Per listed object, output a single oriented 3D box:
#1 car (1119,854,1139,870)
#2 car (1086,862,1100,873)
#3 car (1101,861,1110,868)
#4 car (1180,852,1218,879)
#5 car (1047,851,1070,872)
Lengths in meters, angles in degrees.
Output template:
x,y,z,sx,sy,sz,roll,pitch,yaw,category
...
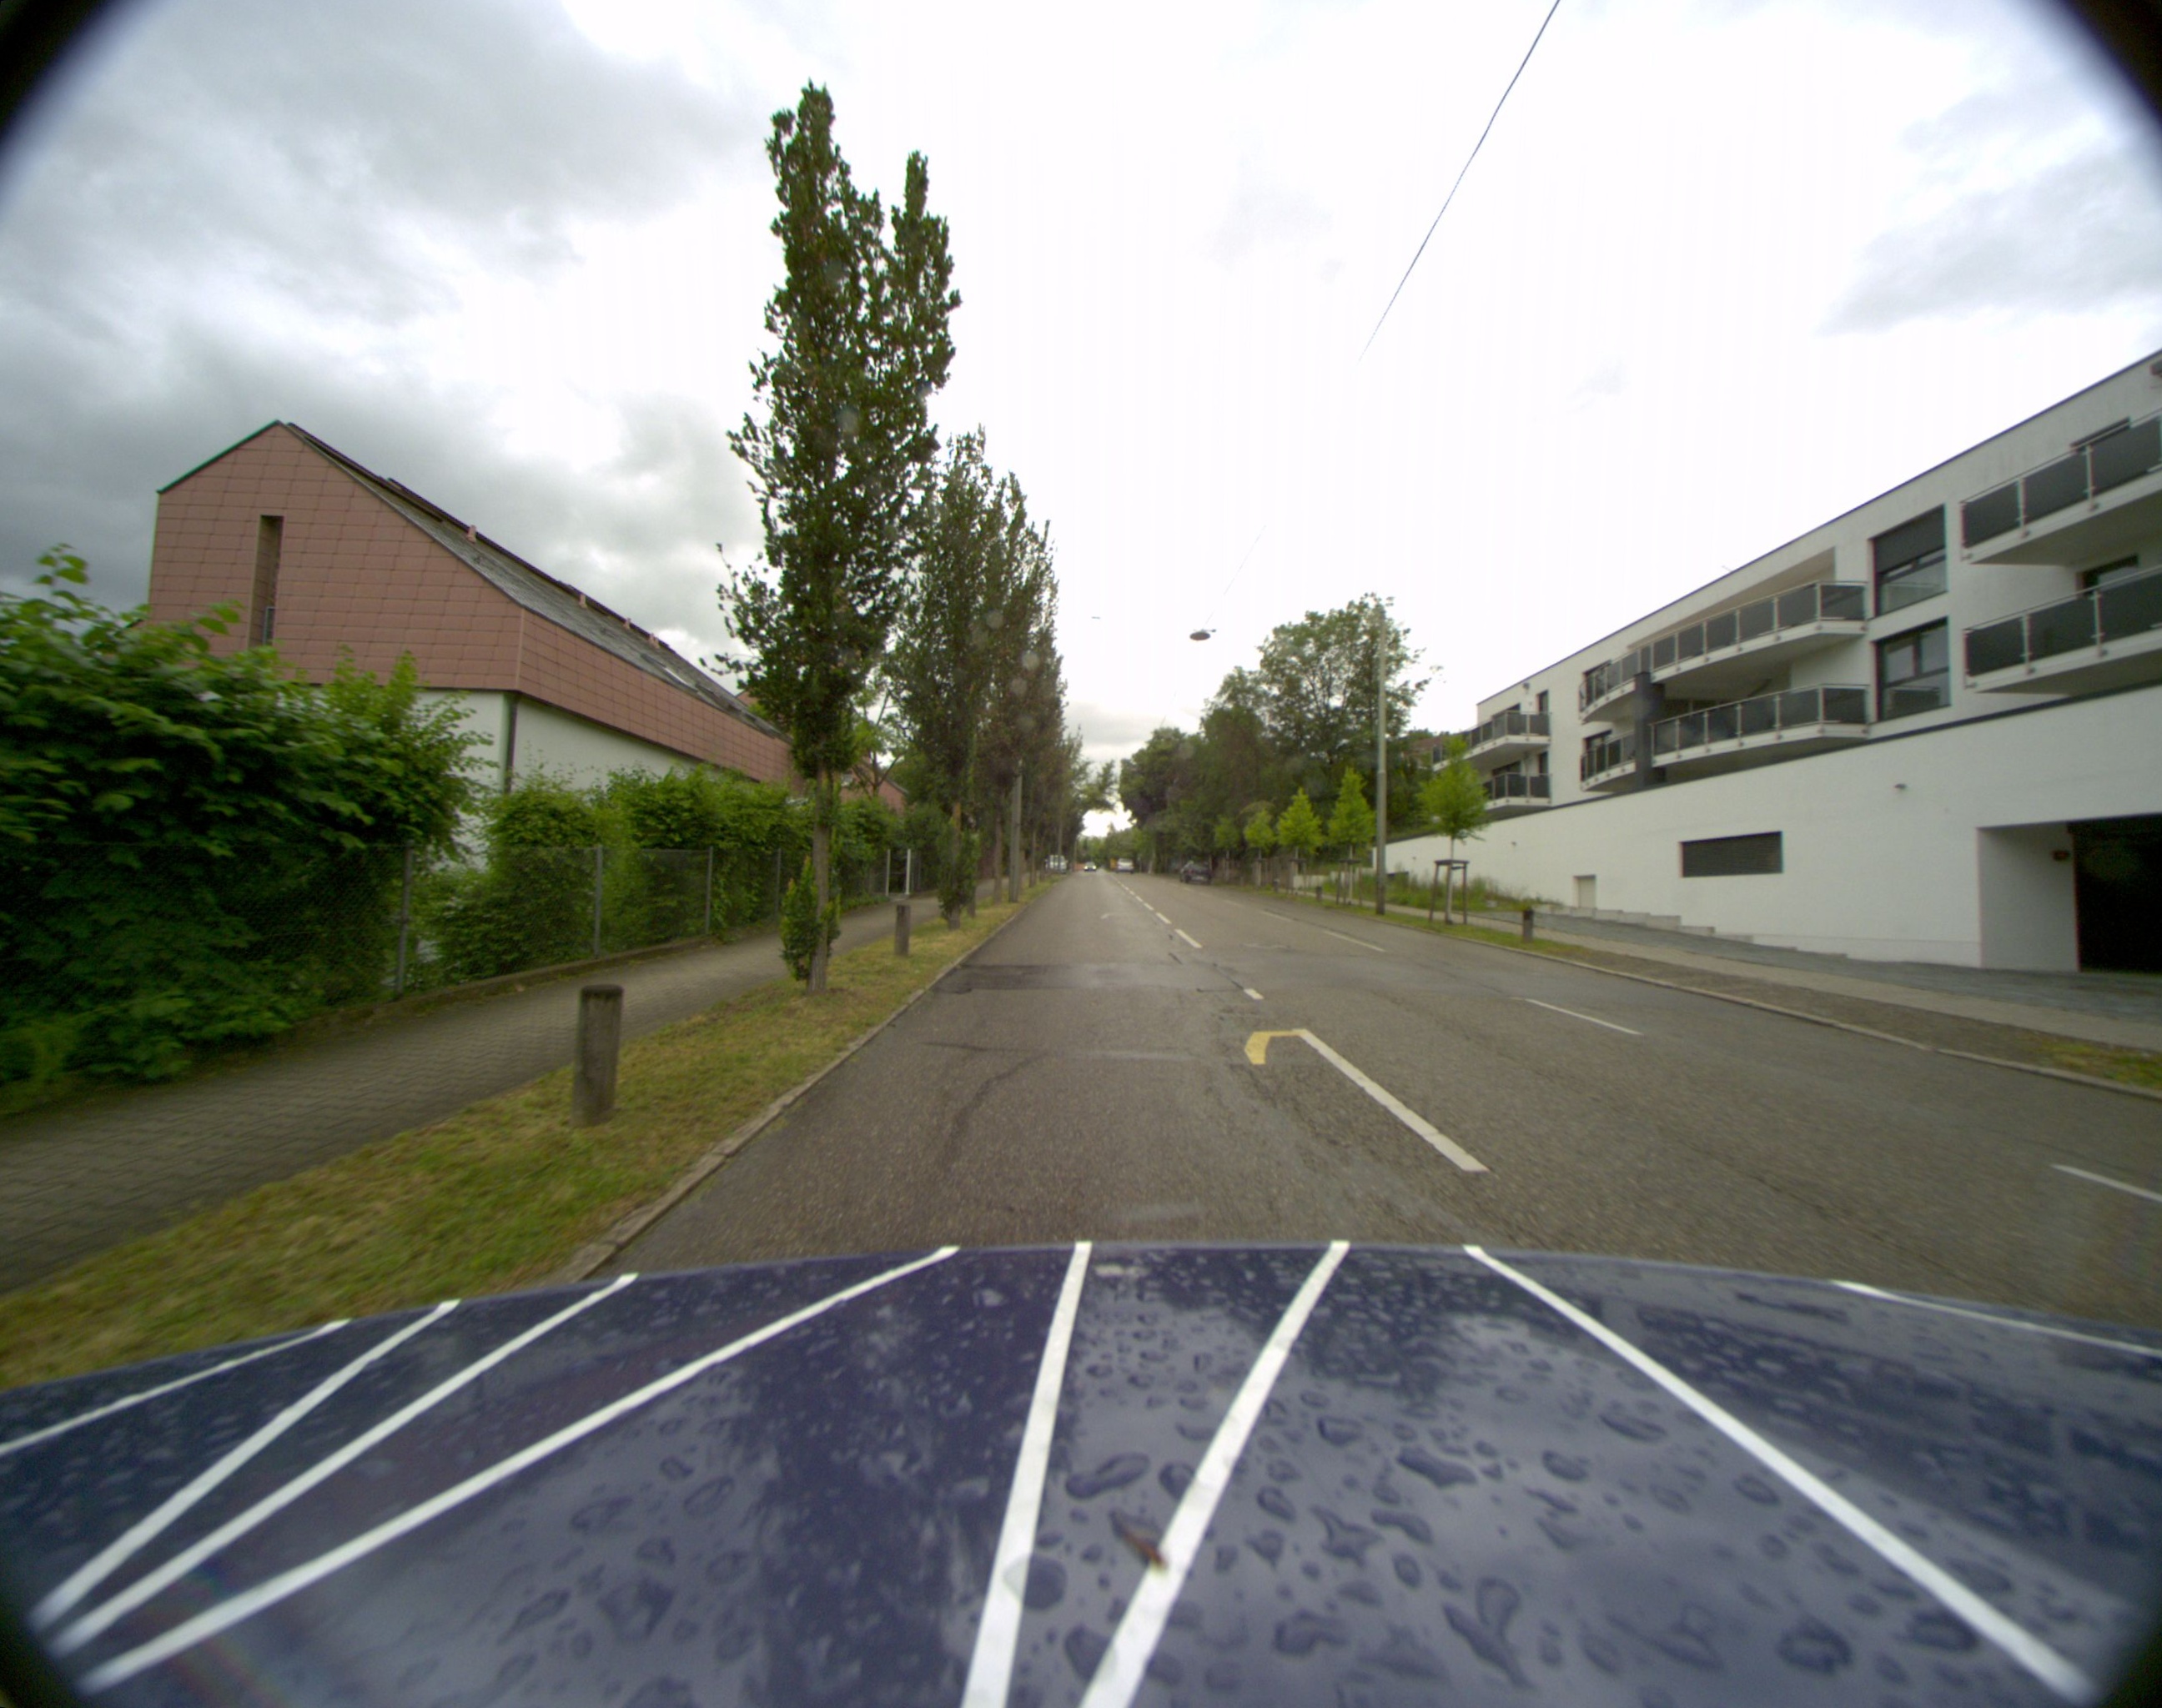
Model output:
x,y,z,sx,sy,sz,roll,pitch,yaw,category
4.694,0.756,74.963,1.766,1.477,4.000,2,1,1,car
2.008,2.175,125.148,1.998,1.674,4.001,-2,-1,3,car
5.606,2.378,174.870,1.798,1.501,4.093,1,1,0,car
7.681,0.711,49.808,1.750,1.540,3.917,4,1,0,car
-1.858,0.593,64.908,1.829,1.620,3.999,3,0,-1,car
